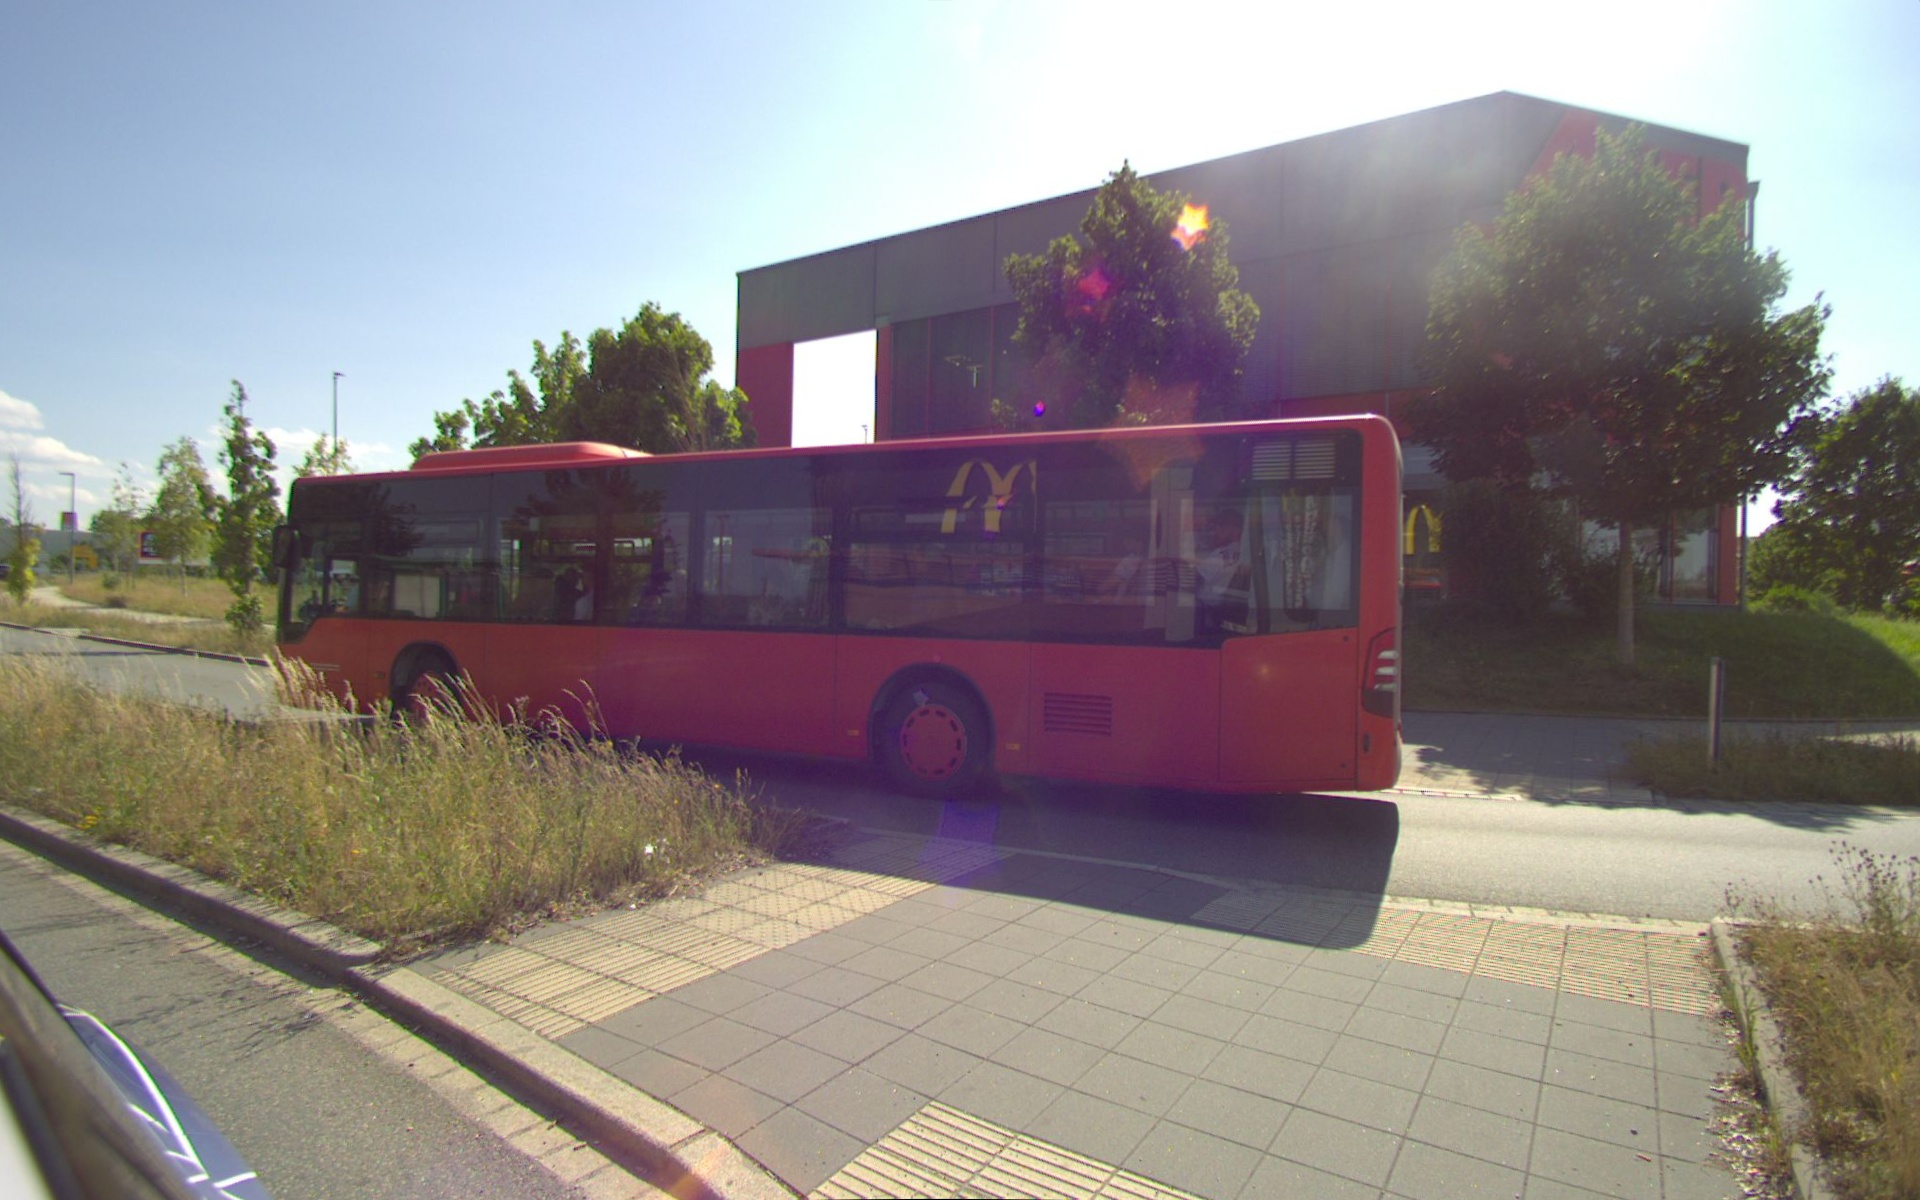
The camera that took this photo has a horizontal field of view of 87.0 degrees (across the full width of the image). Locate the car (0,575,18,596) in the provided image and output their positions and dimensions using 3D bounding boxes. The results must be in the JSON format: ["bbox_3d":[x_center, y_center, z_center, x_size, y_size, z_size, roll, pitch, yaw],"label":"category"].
[{"bbox_3d":[-78.083,-1.193,82.192,4.000,1.630,1.972,1,0,43],"label":"car"}]

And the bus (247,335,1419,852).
[{"bbox_3d":[-1.989,0.040,10.013,11.809,3.266,2.596,-1,-2,24],"label":"bus"}]
